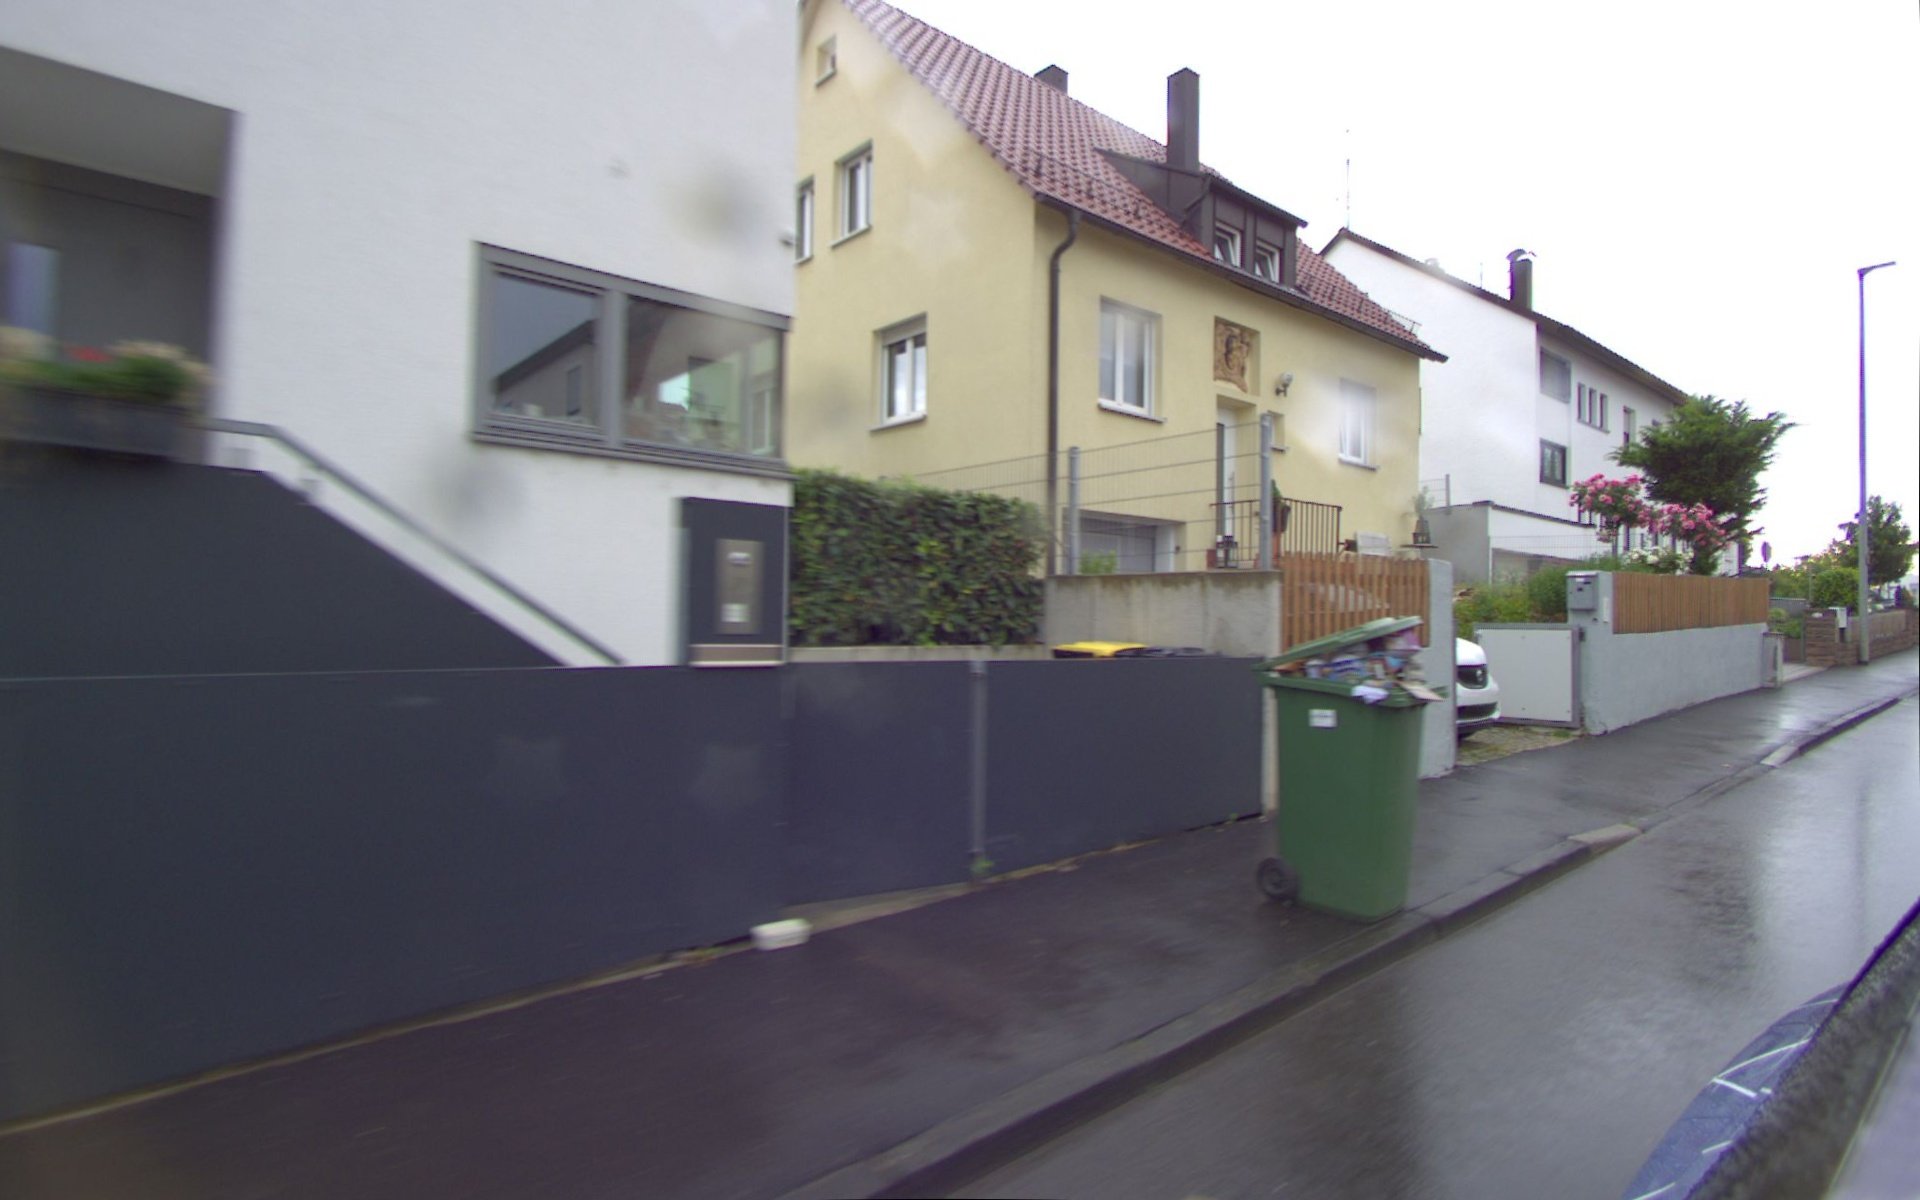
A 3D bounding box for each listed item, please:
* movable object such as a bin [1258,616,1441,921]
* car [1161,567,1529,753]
[{"bbox_3d":[1.711,0.682,4.455,0.528,1.201,0.568,0,1,-42],"label":"movable object such as a bin"},{"bbox_3d":[3.700,0.516,10.107,1.601,1.543,3.080,2,-1,-35],"label":"car"}]
